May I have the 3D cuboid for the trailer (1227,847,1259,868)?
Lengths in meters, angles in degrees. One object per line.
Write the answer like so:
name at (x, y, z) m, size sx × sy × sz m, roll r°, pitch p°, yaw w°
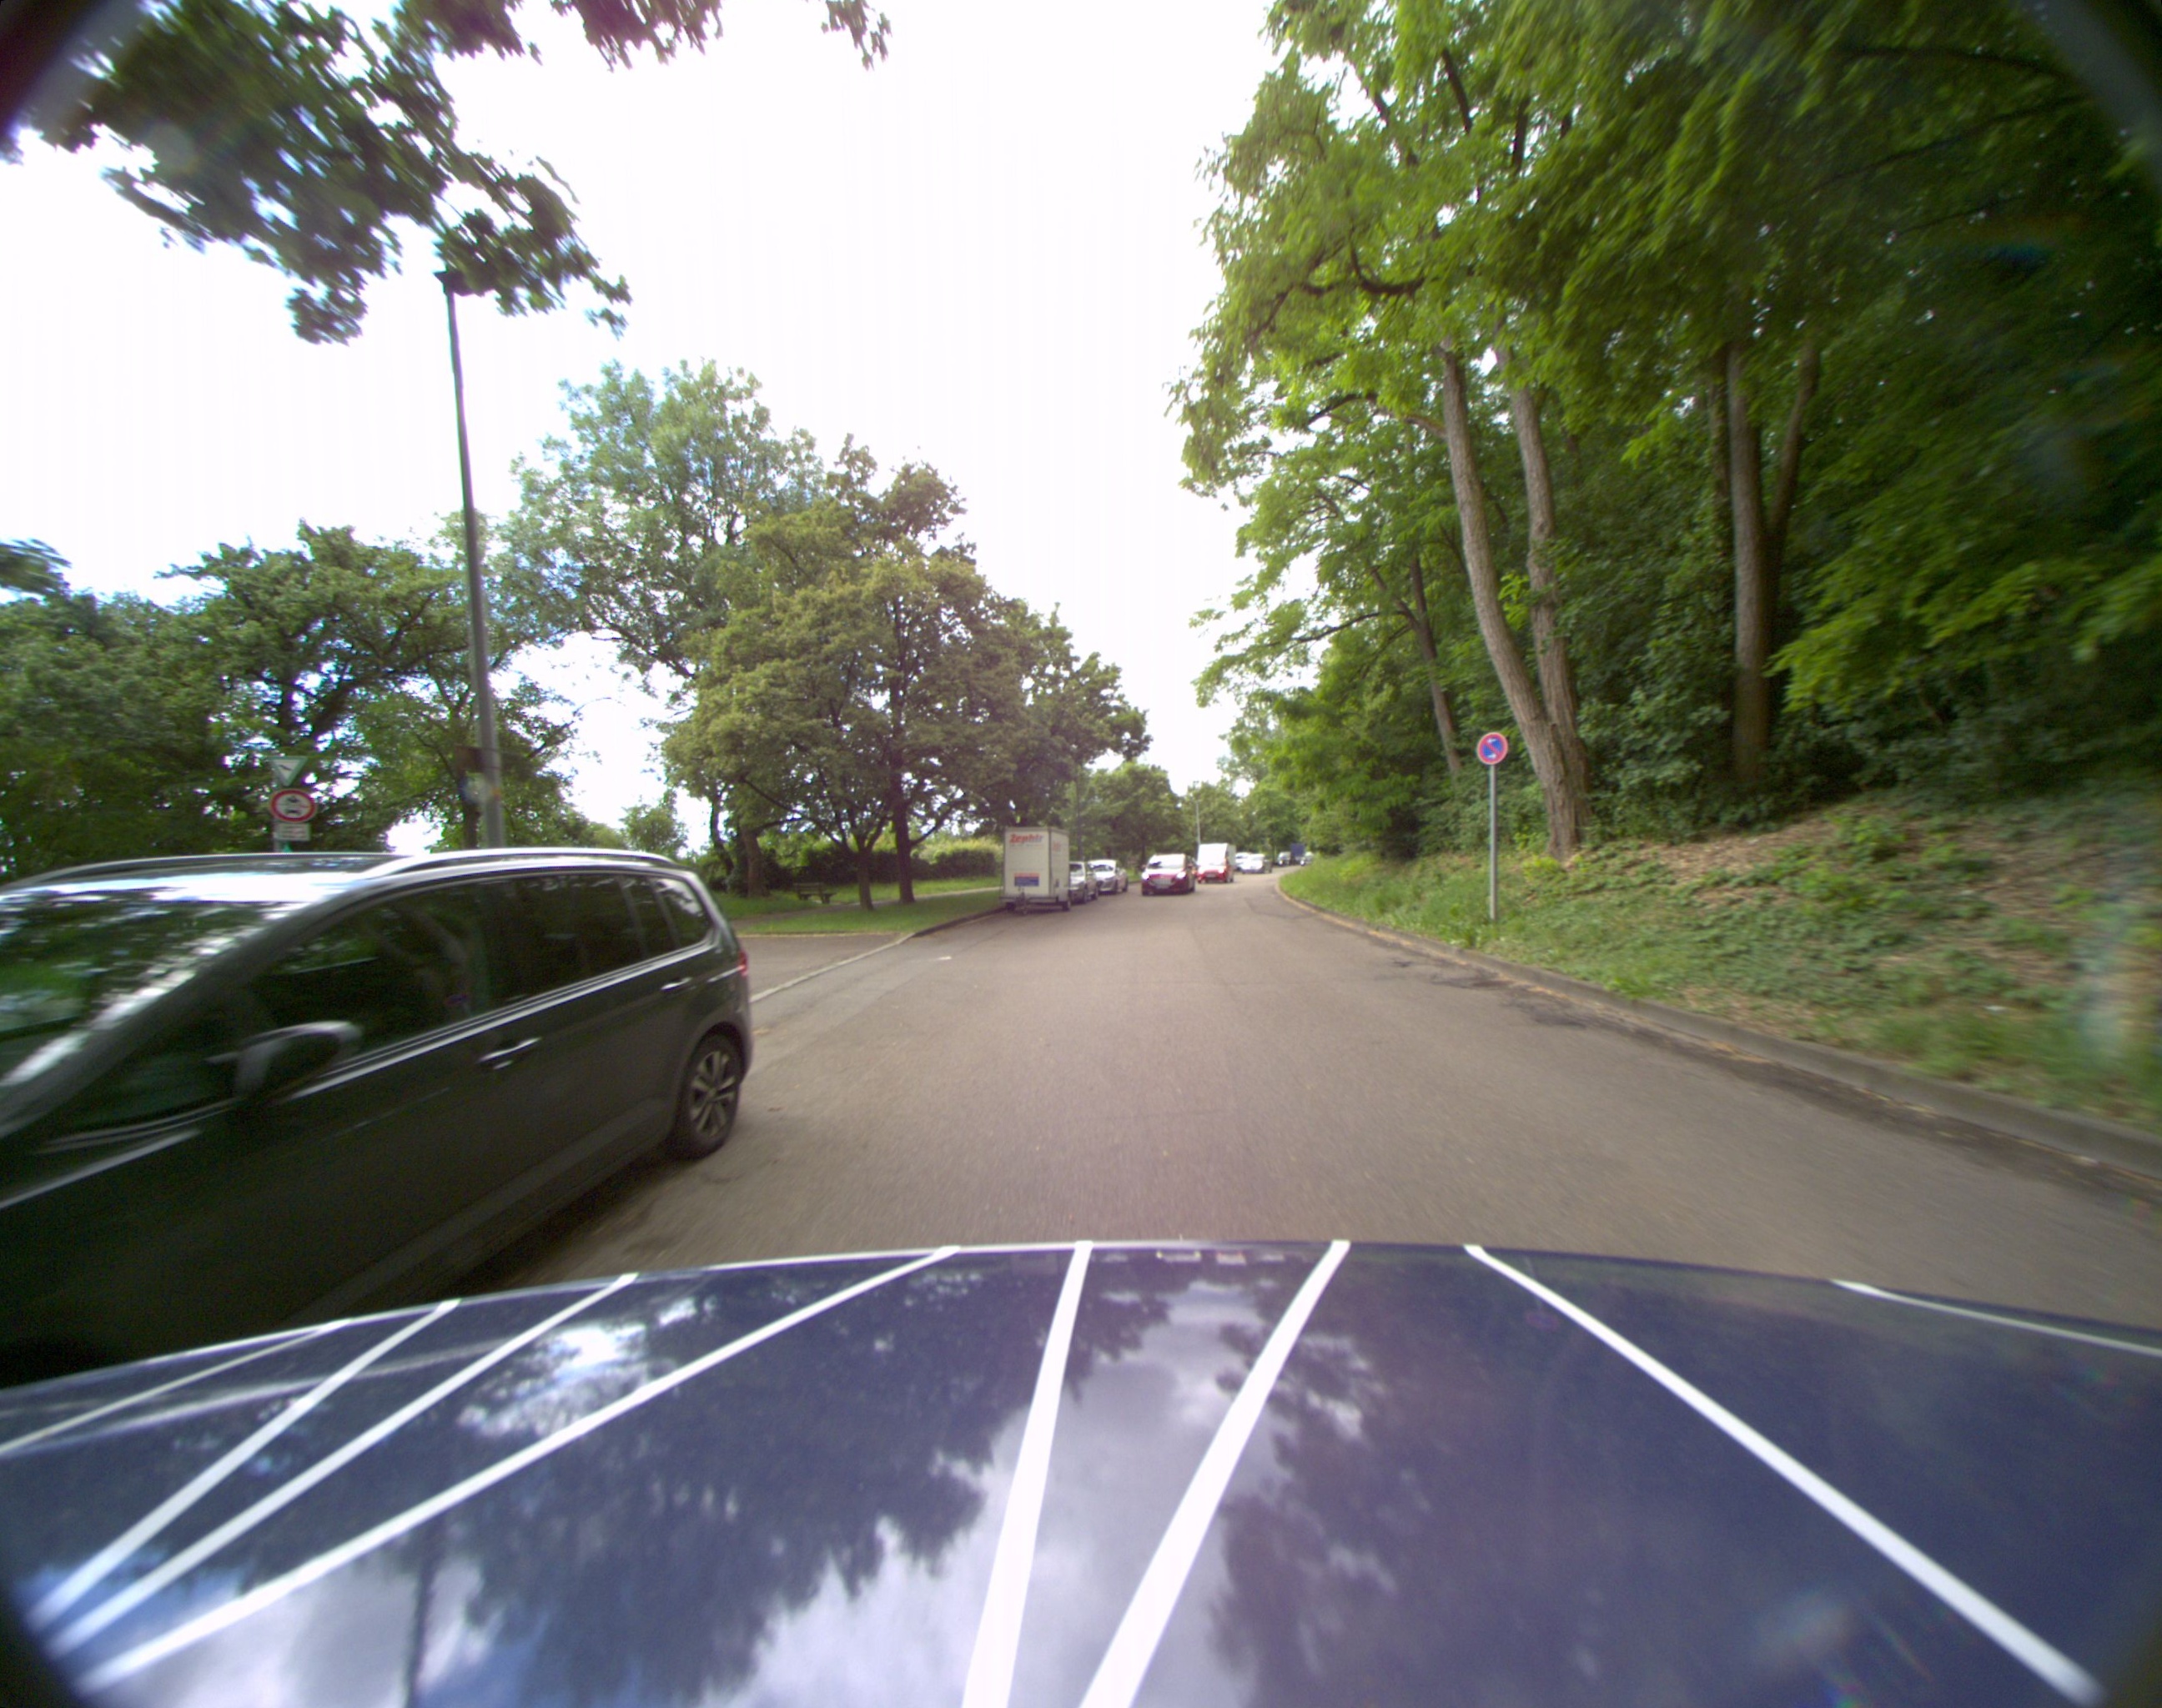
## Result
trailer at (15.183, 0.305, 70.991) m, size 1.773 × 1.721 × 4.657 m, roll 0°, pitch 2°, yaw 27°

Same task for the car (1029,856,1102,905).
car at (-0.461, 0.868, 27.220) m, size 1.744 × 1.516 × 4.638 m, roll -1°, pitch 1°, yaw 10°

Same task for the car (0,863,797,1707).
car at (-2.913, 0.967, 2.668) m, size 1.780 × 1.653 × 4.840 m, roll -3°, pitch 1°, yaw 2°

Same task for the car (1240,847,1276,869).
car at (14.681, 0.298, 62.873) m, size 1.919 × 1.672 × 4.006 m, roll 0°, pitch 2°, yaw 29°

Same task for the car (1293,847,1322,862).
car at (23.590, 0.074, 78.881) m, size 1.800 × 1.481 × 4.008 m, roll -1°, pitch 0°, yaw 33°

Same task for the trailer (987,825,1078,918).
trailer at (-1.289, 0.460, 21.825) m, size 1.764 × 2.413 × 3.889 m, roll -1°, pitch 0°, yaw 9°

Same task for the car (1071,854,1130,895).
car at (0.914, 0.854, 33.303) m, size 1.906 × 1.468 × 4.060 m, roll -3°, pitch 2°, yaw 10°

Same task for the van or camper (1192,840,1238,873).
van or camper at (11.172, 0.139, 62.793) m, size 2.163 × 2.521 × 6.041 m, roll -3°, pitch 0°, yaw 25°

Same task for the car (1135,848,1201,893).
car at (3.734, 0.638, 31.767) m, size 1.996 × 1.619 × 4.631 m, roll -3°, pitch 0°, yaw 15°

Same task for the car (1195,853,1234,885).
car at (7.910, 0.833, 44.728) m, size 1.864 × 1.441 × 4.177 m, roll 0°, pitch 5°, yaw 15°

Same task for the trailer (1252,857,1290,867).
trailer at (19.609, 0.812, 78.240) m, size 2.106 × 0.647 × 6.412 m, roll -3°, pitch 0°, yaw 29°

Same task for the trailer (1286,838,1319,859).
trailer at (25.464, -0.552, 87.309) m, size 2.107 × 2.348 × 4.711 m, roll 0°, pitch 0°, yaw 36°

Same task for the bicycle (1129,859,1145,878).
bicycle at (4.209, 1.084, 56.813) m, size 0.534 × 1.208 × 2.187 m, roll -3°, pitch 2°, yaw 20°
